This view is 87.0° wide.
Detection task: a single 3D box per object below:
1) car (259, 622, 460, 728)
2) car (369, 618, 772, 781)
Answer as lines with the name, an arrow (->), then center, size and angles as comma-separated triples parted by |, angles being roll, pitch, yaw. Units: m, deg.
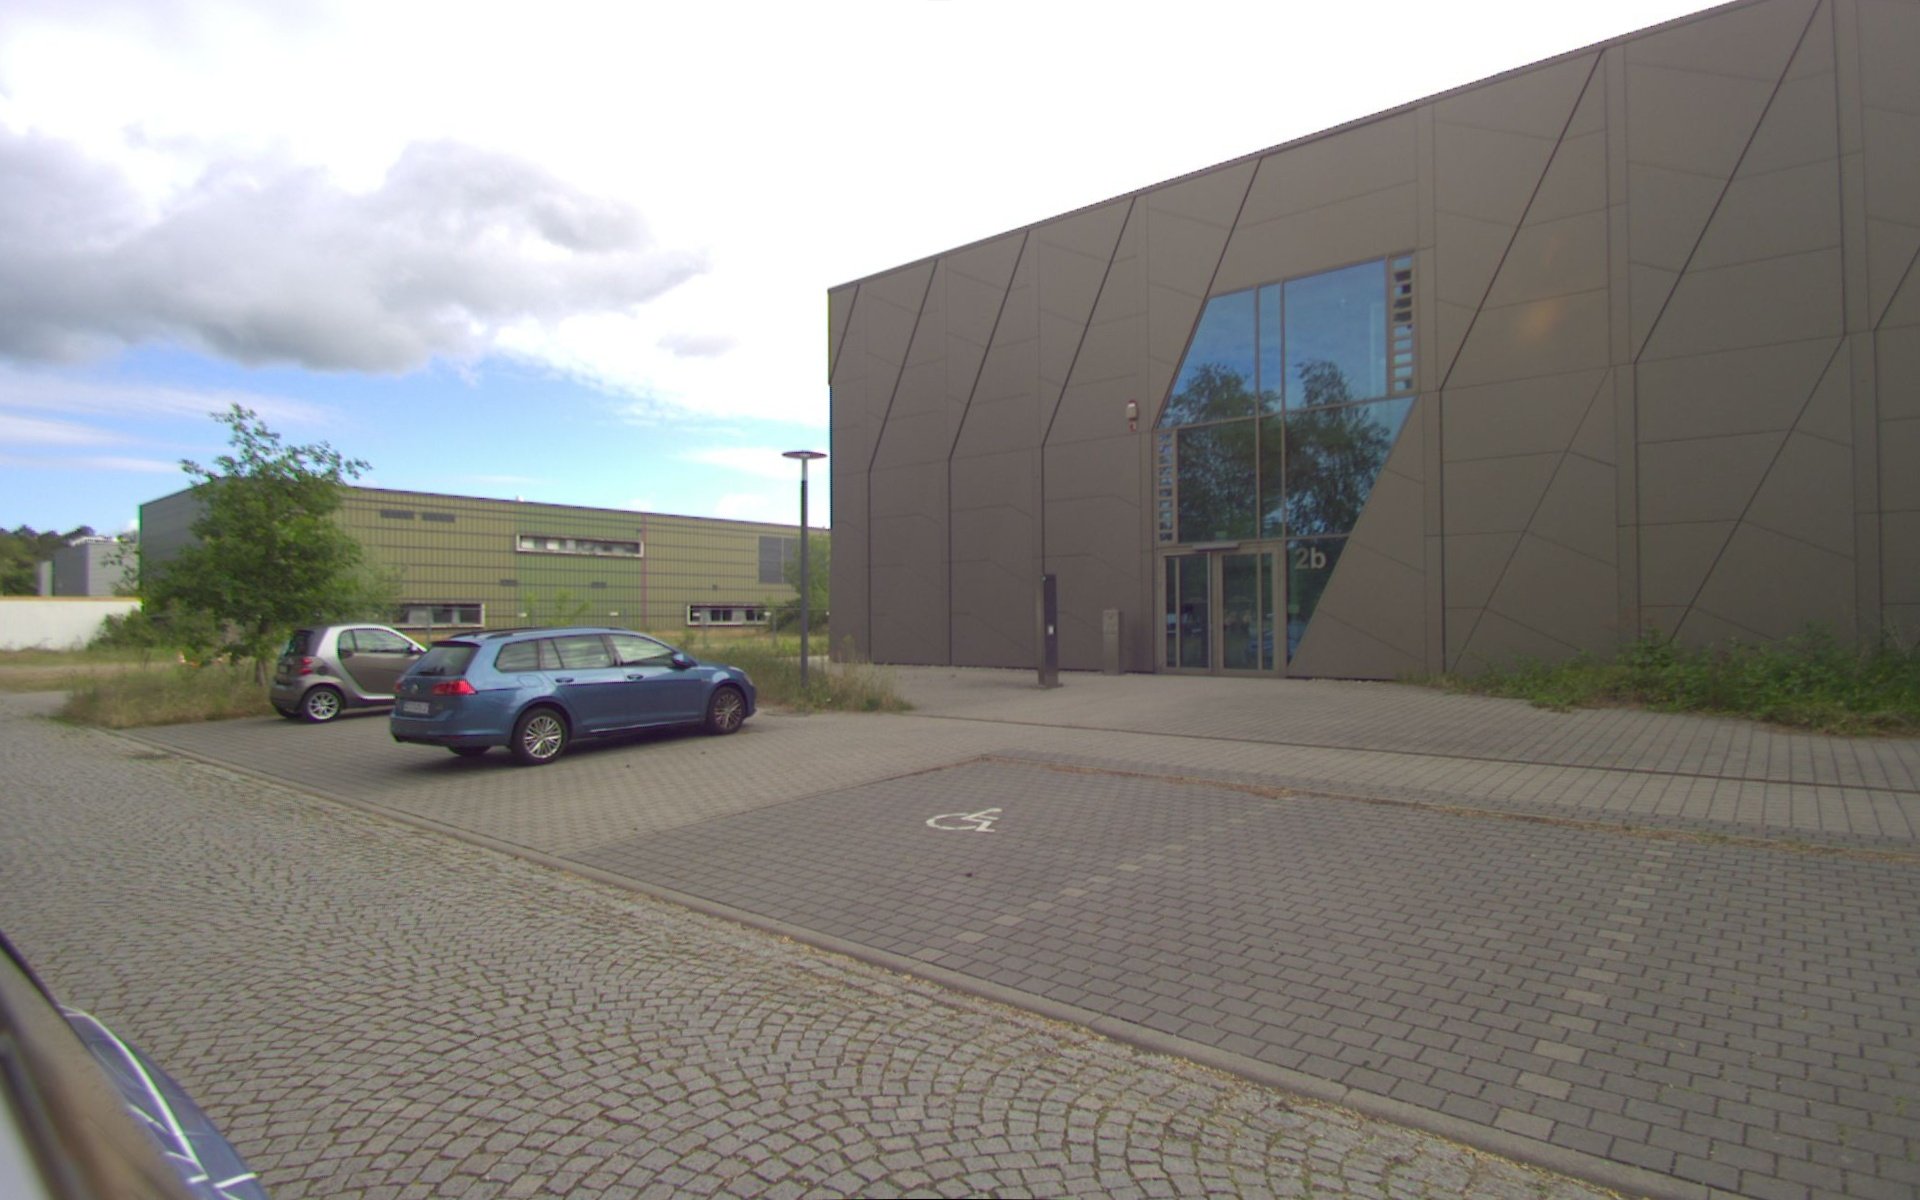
car -> -10.123, 1.193, 17.150 | 1.498, 1.541, 2.553 | -1, 0, 38
car -> -4.517, 1.043, 12.376 | 1.631, 1.480, 4.374 | -1, 0, 37
